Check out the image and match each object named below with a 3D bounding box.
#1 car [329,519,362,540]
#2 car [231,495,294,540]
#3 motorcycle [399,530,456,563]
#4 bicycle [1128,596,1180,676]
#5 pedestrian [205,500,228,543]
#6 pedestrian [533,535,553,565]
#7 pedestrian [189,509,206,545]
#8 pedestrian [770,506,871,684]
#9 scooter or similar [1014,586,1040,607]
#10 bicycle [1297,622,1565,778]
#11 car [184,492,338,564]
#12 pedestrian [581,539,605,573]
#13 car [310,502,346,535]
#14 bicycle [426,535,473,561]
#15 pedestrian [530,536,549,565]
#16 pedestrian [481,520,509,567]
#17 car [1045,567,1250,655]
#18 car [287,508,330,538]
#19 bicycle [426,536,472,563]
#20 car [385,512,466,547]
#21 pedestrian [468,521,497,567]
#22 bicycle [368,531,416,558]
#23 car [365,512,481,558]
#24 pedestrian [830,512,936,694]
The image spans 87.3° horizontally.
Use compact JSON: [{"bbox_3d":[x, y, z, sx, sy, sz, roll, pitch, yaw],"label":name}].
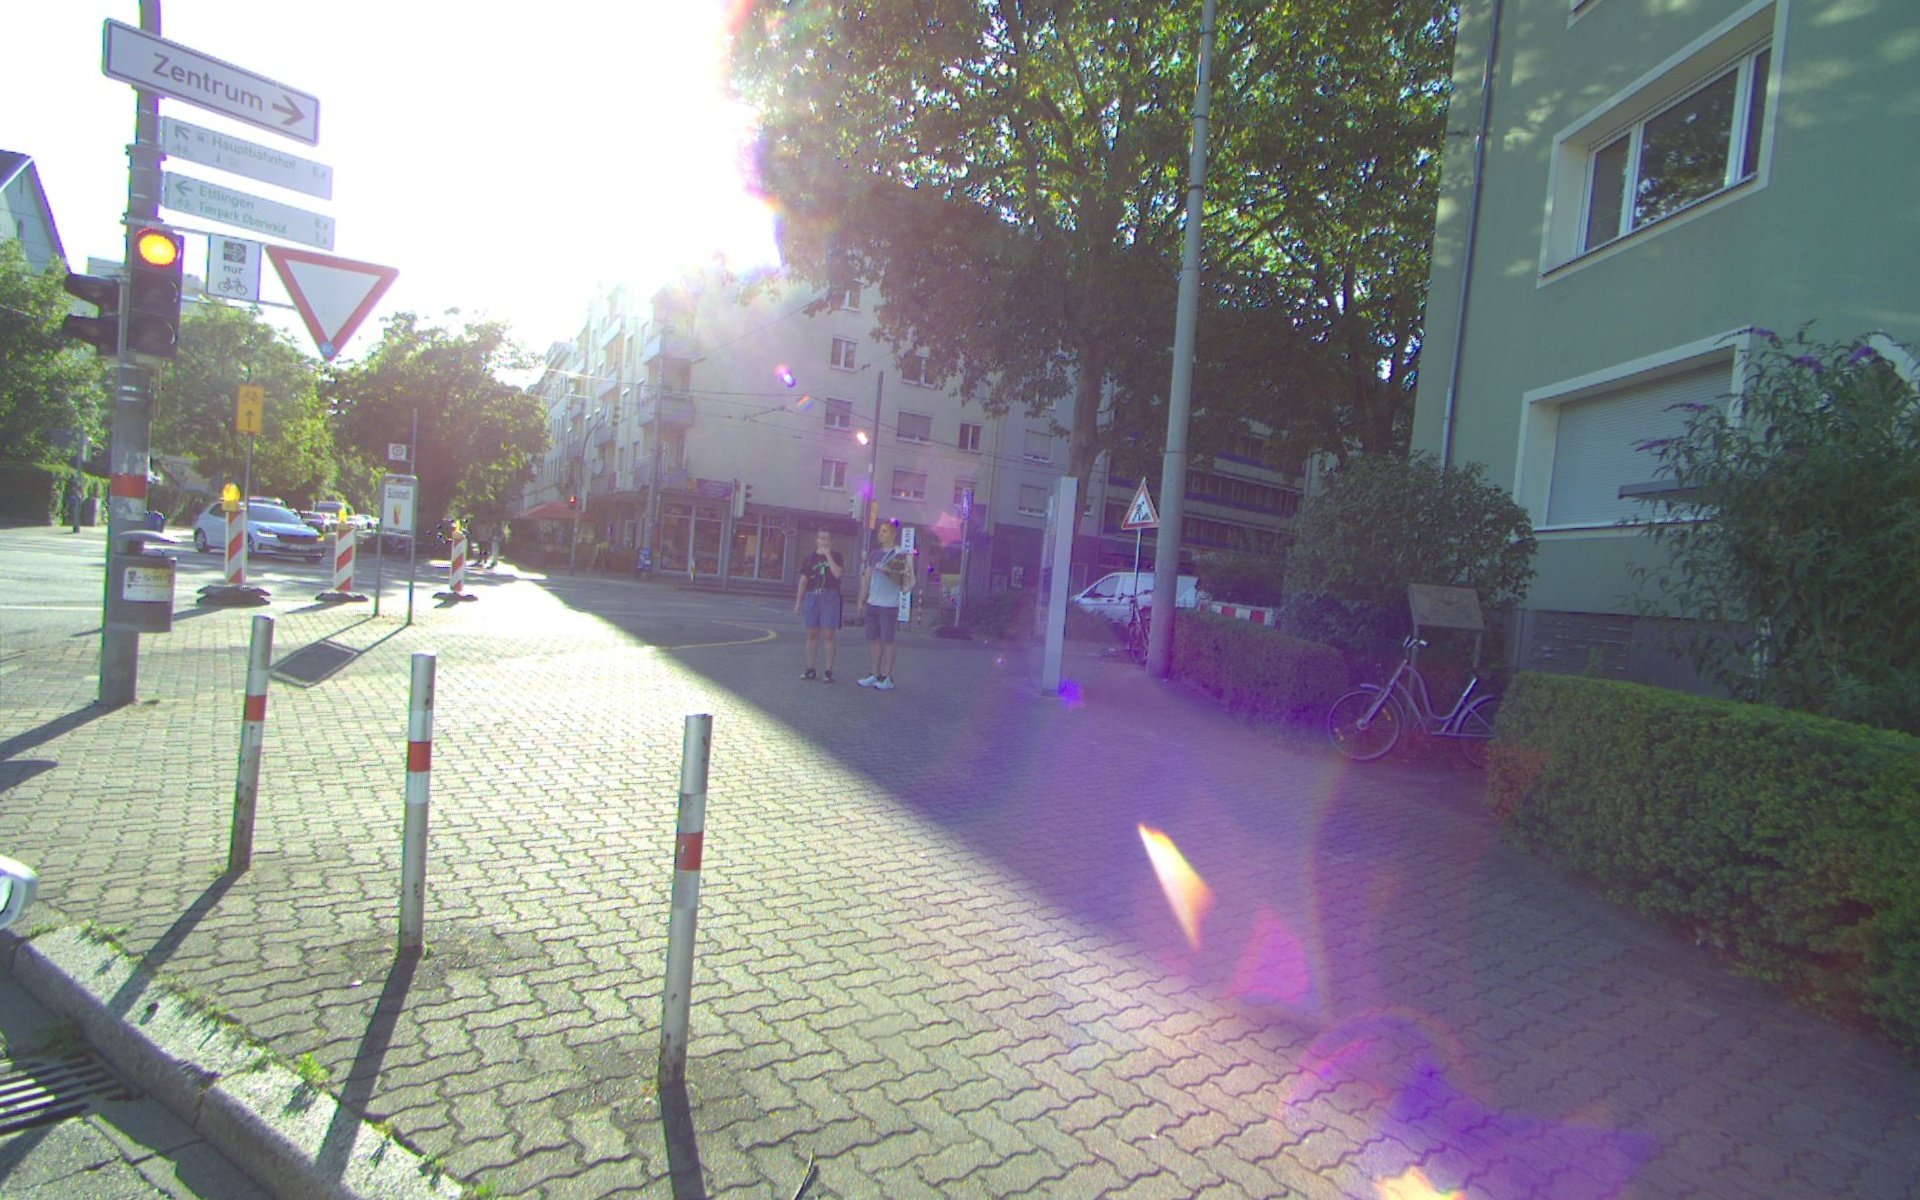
[{"bbox_3d":[-61.531,-7.068,100.805,2.333,1.818,5.271,5,2,-28],"label":"car"},{"bbox_3d":[-37.329,-4.401,53.985,2.336,2.040,5.265,4,2,-31],"label":"car"},{"bbox_3d":[-21.640,-2.166,40.881,1.938,1.124,0.829,4,2,-34],"label":"motorcycle"},{"bbox_3d":[2.866,0.498,15.002,0.511,1.071,1.933,6,2,7],"label":"bicycle"},{"bbox_3d":[-33.598,-3.551,45.444,0.656,1.864,0.677,4,3,-30],"label":"pedestrian"},{"bbox_3d":[-20.820,-2.488,50.202,0.803,1.381,0.908,4,2,-23],"label":"pedestrian"},{"bbox_3d":[-38.725,-3.729,51.106,0.575,1.754,0.602,4,3,-34],"label":"pedestrian"},{"bbox_3d":[-1.474,-0.054,10.723,0.680,1.774,0.794,6,2,13],"label":"pedestrian"},{"bbox_3d":[3.484,-0.191,52.159,1.421,0.966,0.462,4,3,-44],"label":"scooter or similar"},{"bbox_3d":[3.954,0.825,8.548,1.897,1.071,0.521,6,2,5],"label":"bicycle"},{"bbox_3d":[-18.588,-1.925,26.739,3.933,1.506,1.891,7,2,31],"label":"car"},{"bbox_3d":[-17.793,-2.142,48.807,0.806,1.565,0.905,3,3,-35],"label":"pedestrian"},{"bbox_3d":[-54.388,-6.985,86.634,2.336,2.548,5.265,4,2,-31],"label":"car"},{"bbox_3d":[-21.602,-2.191,42.605,1.708,0.945,0.557,5,2,-29],"label":"bicycle"},{"bbox_3d":[-21.459,-2.528,51.358,0.803,1.381,0.908,4,2,-23],"label":"pedestrian"},{"bbox_3d":[-18.523,-2.230,40.102,0.681,1.774,0.793,5,2,-7],"label":"pedestrian"},{"bbox_3d":[4.712,0.226,26.131,1.913,1.849,5.185,5,0,-37],"label":"car"},{"bbox_3d":[-47.037,-5.583,72.769,2.336,1.818,5.265,4,2,-31],"label":"car"},{"bbox_3d":[-21.972,-2.169,43.276,1.708,0.945,0.557,5,2,-29],"label":"bicycle"},{"bbox_3d":[-39.350,-5.156,74.117,5.050,1.948,2.344,5,0,-32],"label":"car"},{"bbox_3d":[-19.360,-2.259,40.807,0.706,1.774,0.793,5,2,-7],"label":"pedestrian"},{"bbox_3d":[-23.700,-2.335,42.013,1.708,0.945,0.667,5,2,-29],"label":"bicycle"},{"bbox_3d":[-30.227,-3.585,56.675,5.576,1.948,2.343,5,0,-32],"label":"car"},{"bbox_3d":[-0.791,0.029,10.520,0.680,1.774,0.794,6,2,21],"label":"pedestrian"}]
